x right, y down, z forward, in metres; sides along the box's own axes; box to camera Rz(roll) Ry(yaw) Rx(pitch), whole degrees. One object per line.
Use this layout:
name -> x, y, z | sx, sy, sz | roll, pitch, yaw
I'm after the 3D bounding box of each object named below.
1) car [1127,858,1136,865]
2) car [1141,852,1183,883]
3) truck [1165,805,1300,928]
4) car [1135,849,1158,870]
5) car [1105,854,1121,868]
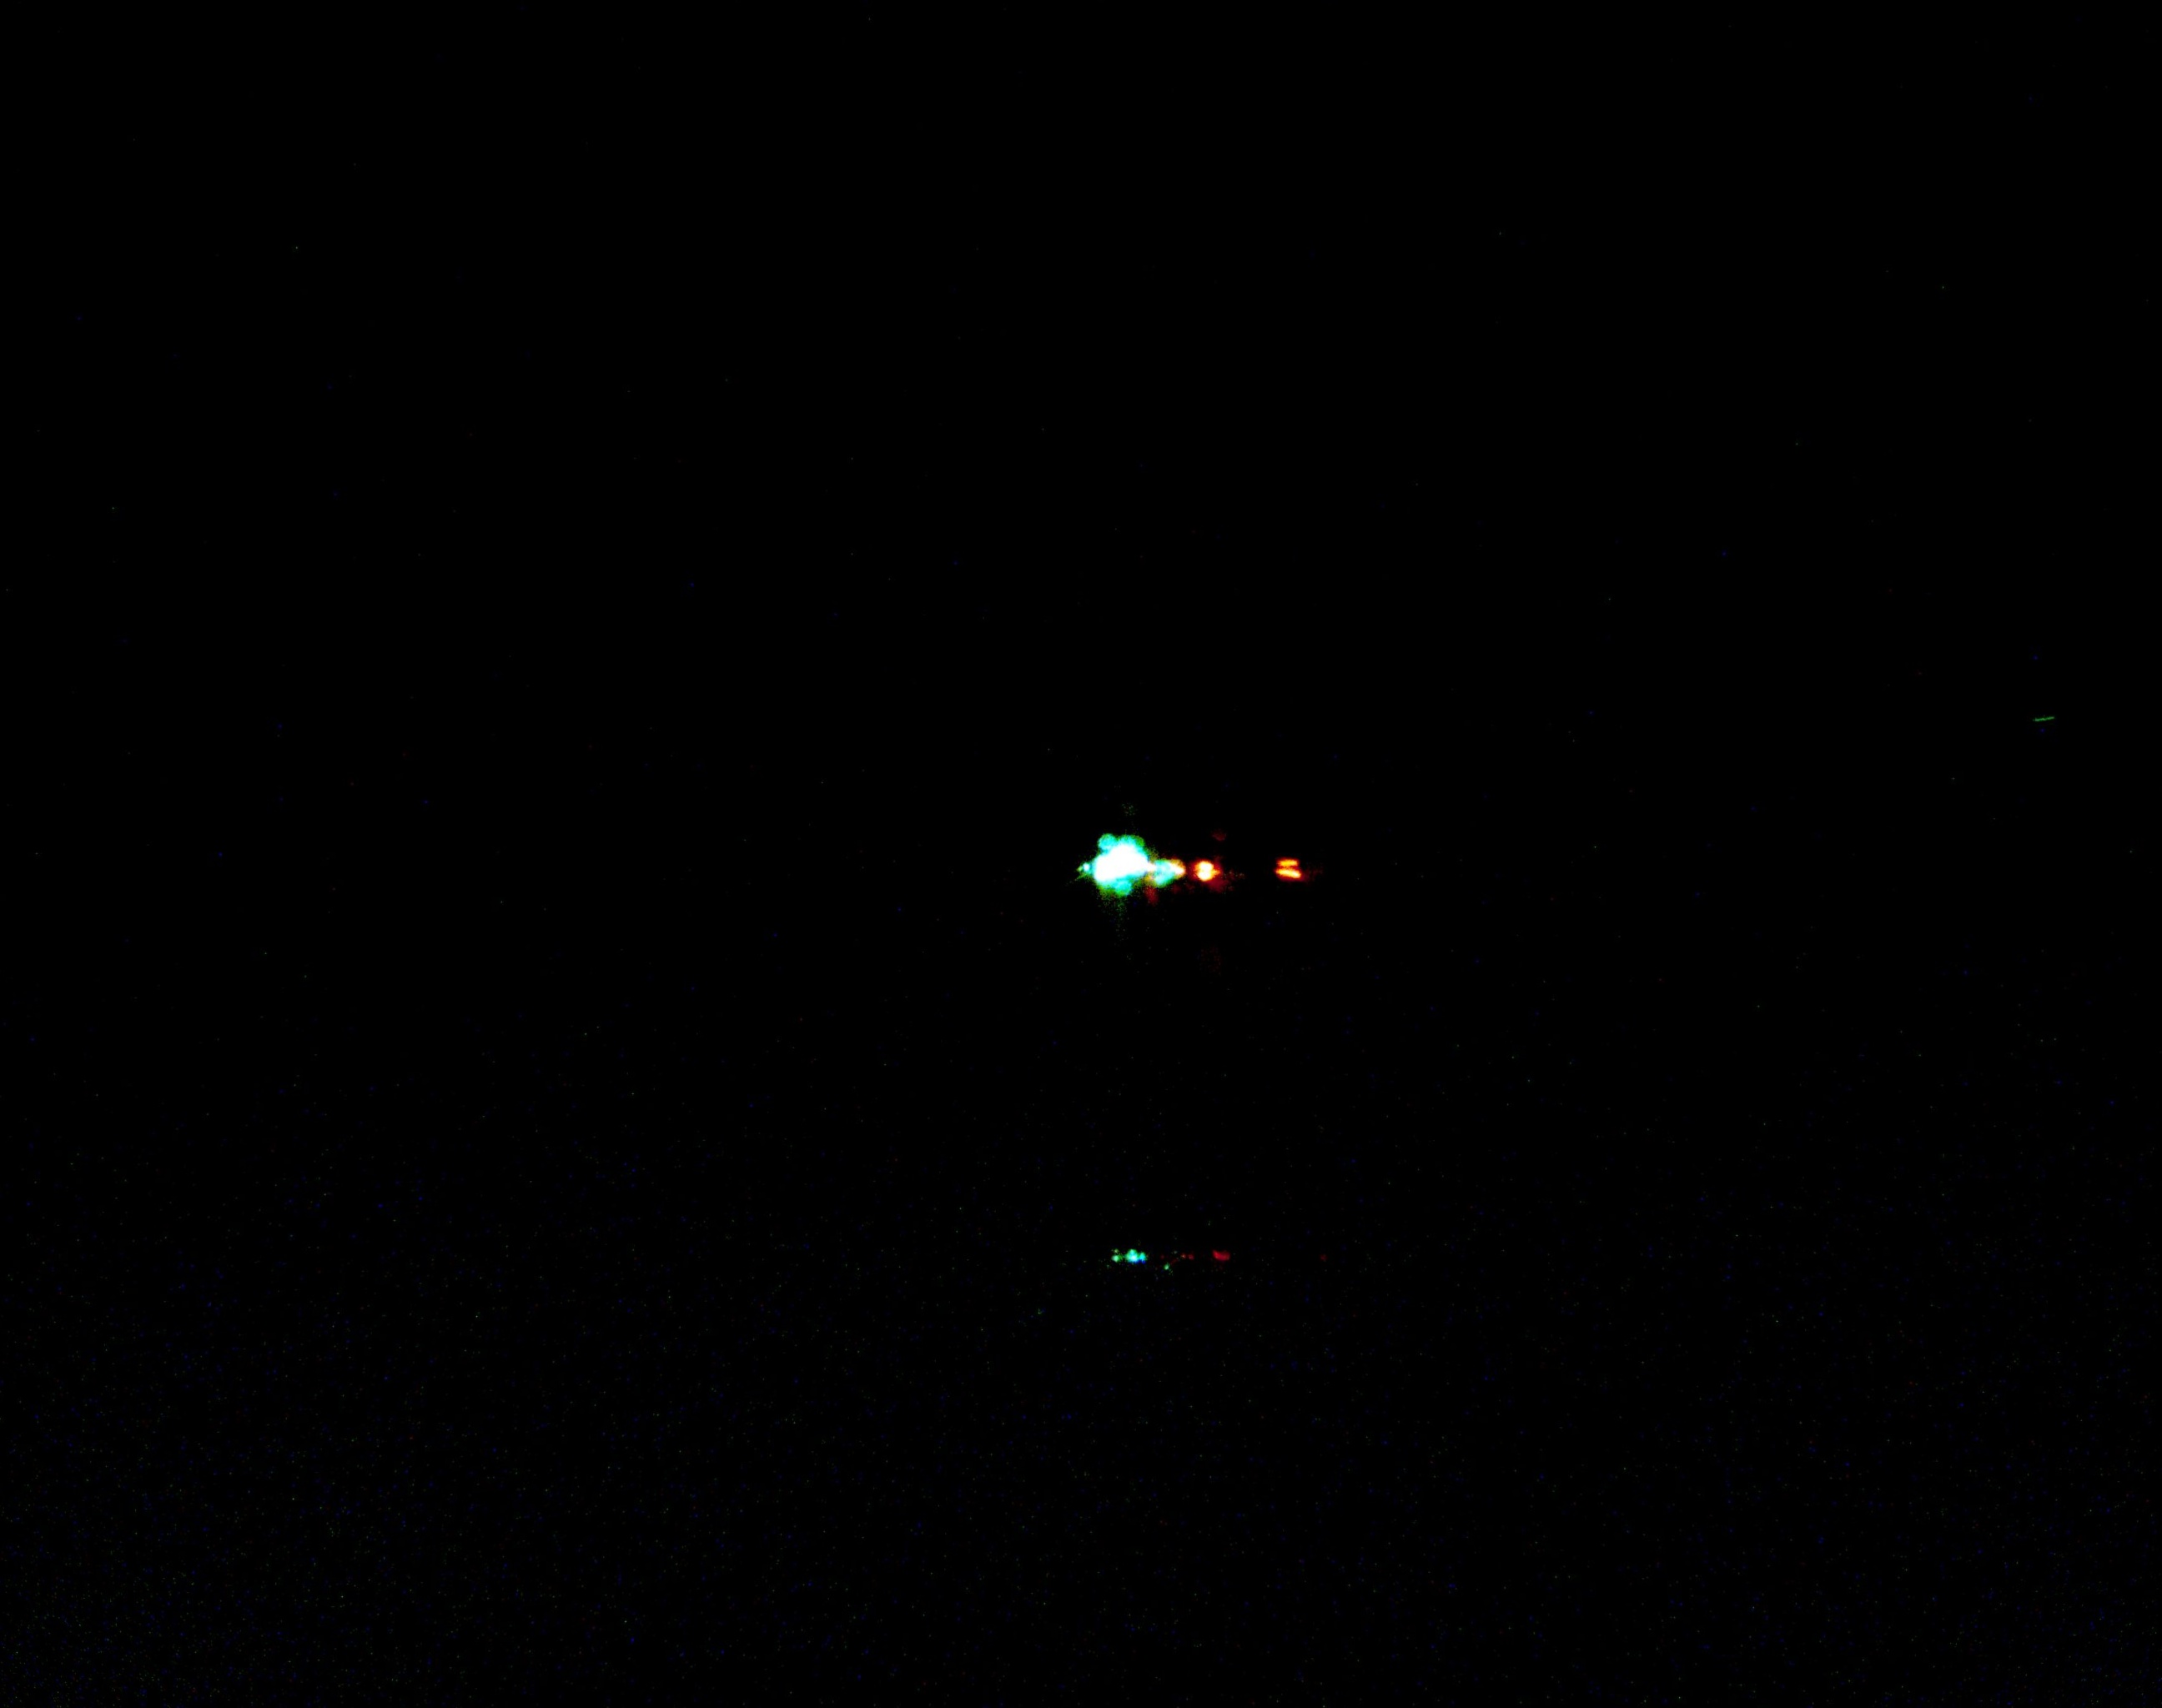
car -> 11.676, 1.670, 175.609 | 1.747, 1.623, 3.736 | -1, 0, 1
car -> 4.347, 0.689, 41.531 | 1.890, 1.566, 4.050 | -2, 0, 1
truck -> 3.488, 0.264, 18.639 | 2.143, 2.520, 5.278 | -2, 0, -1
car -> 5.939, 0.484, 69.499 | 1.747, 1.812, 3.878 | -2, 0, 1
car -> 3.923, 0.833, 93.967 | 1.746, 1.623, 3.737 | -1, 0, 5
